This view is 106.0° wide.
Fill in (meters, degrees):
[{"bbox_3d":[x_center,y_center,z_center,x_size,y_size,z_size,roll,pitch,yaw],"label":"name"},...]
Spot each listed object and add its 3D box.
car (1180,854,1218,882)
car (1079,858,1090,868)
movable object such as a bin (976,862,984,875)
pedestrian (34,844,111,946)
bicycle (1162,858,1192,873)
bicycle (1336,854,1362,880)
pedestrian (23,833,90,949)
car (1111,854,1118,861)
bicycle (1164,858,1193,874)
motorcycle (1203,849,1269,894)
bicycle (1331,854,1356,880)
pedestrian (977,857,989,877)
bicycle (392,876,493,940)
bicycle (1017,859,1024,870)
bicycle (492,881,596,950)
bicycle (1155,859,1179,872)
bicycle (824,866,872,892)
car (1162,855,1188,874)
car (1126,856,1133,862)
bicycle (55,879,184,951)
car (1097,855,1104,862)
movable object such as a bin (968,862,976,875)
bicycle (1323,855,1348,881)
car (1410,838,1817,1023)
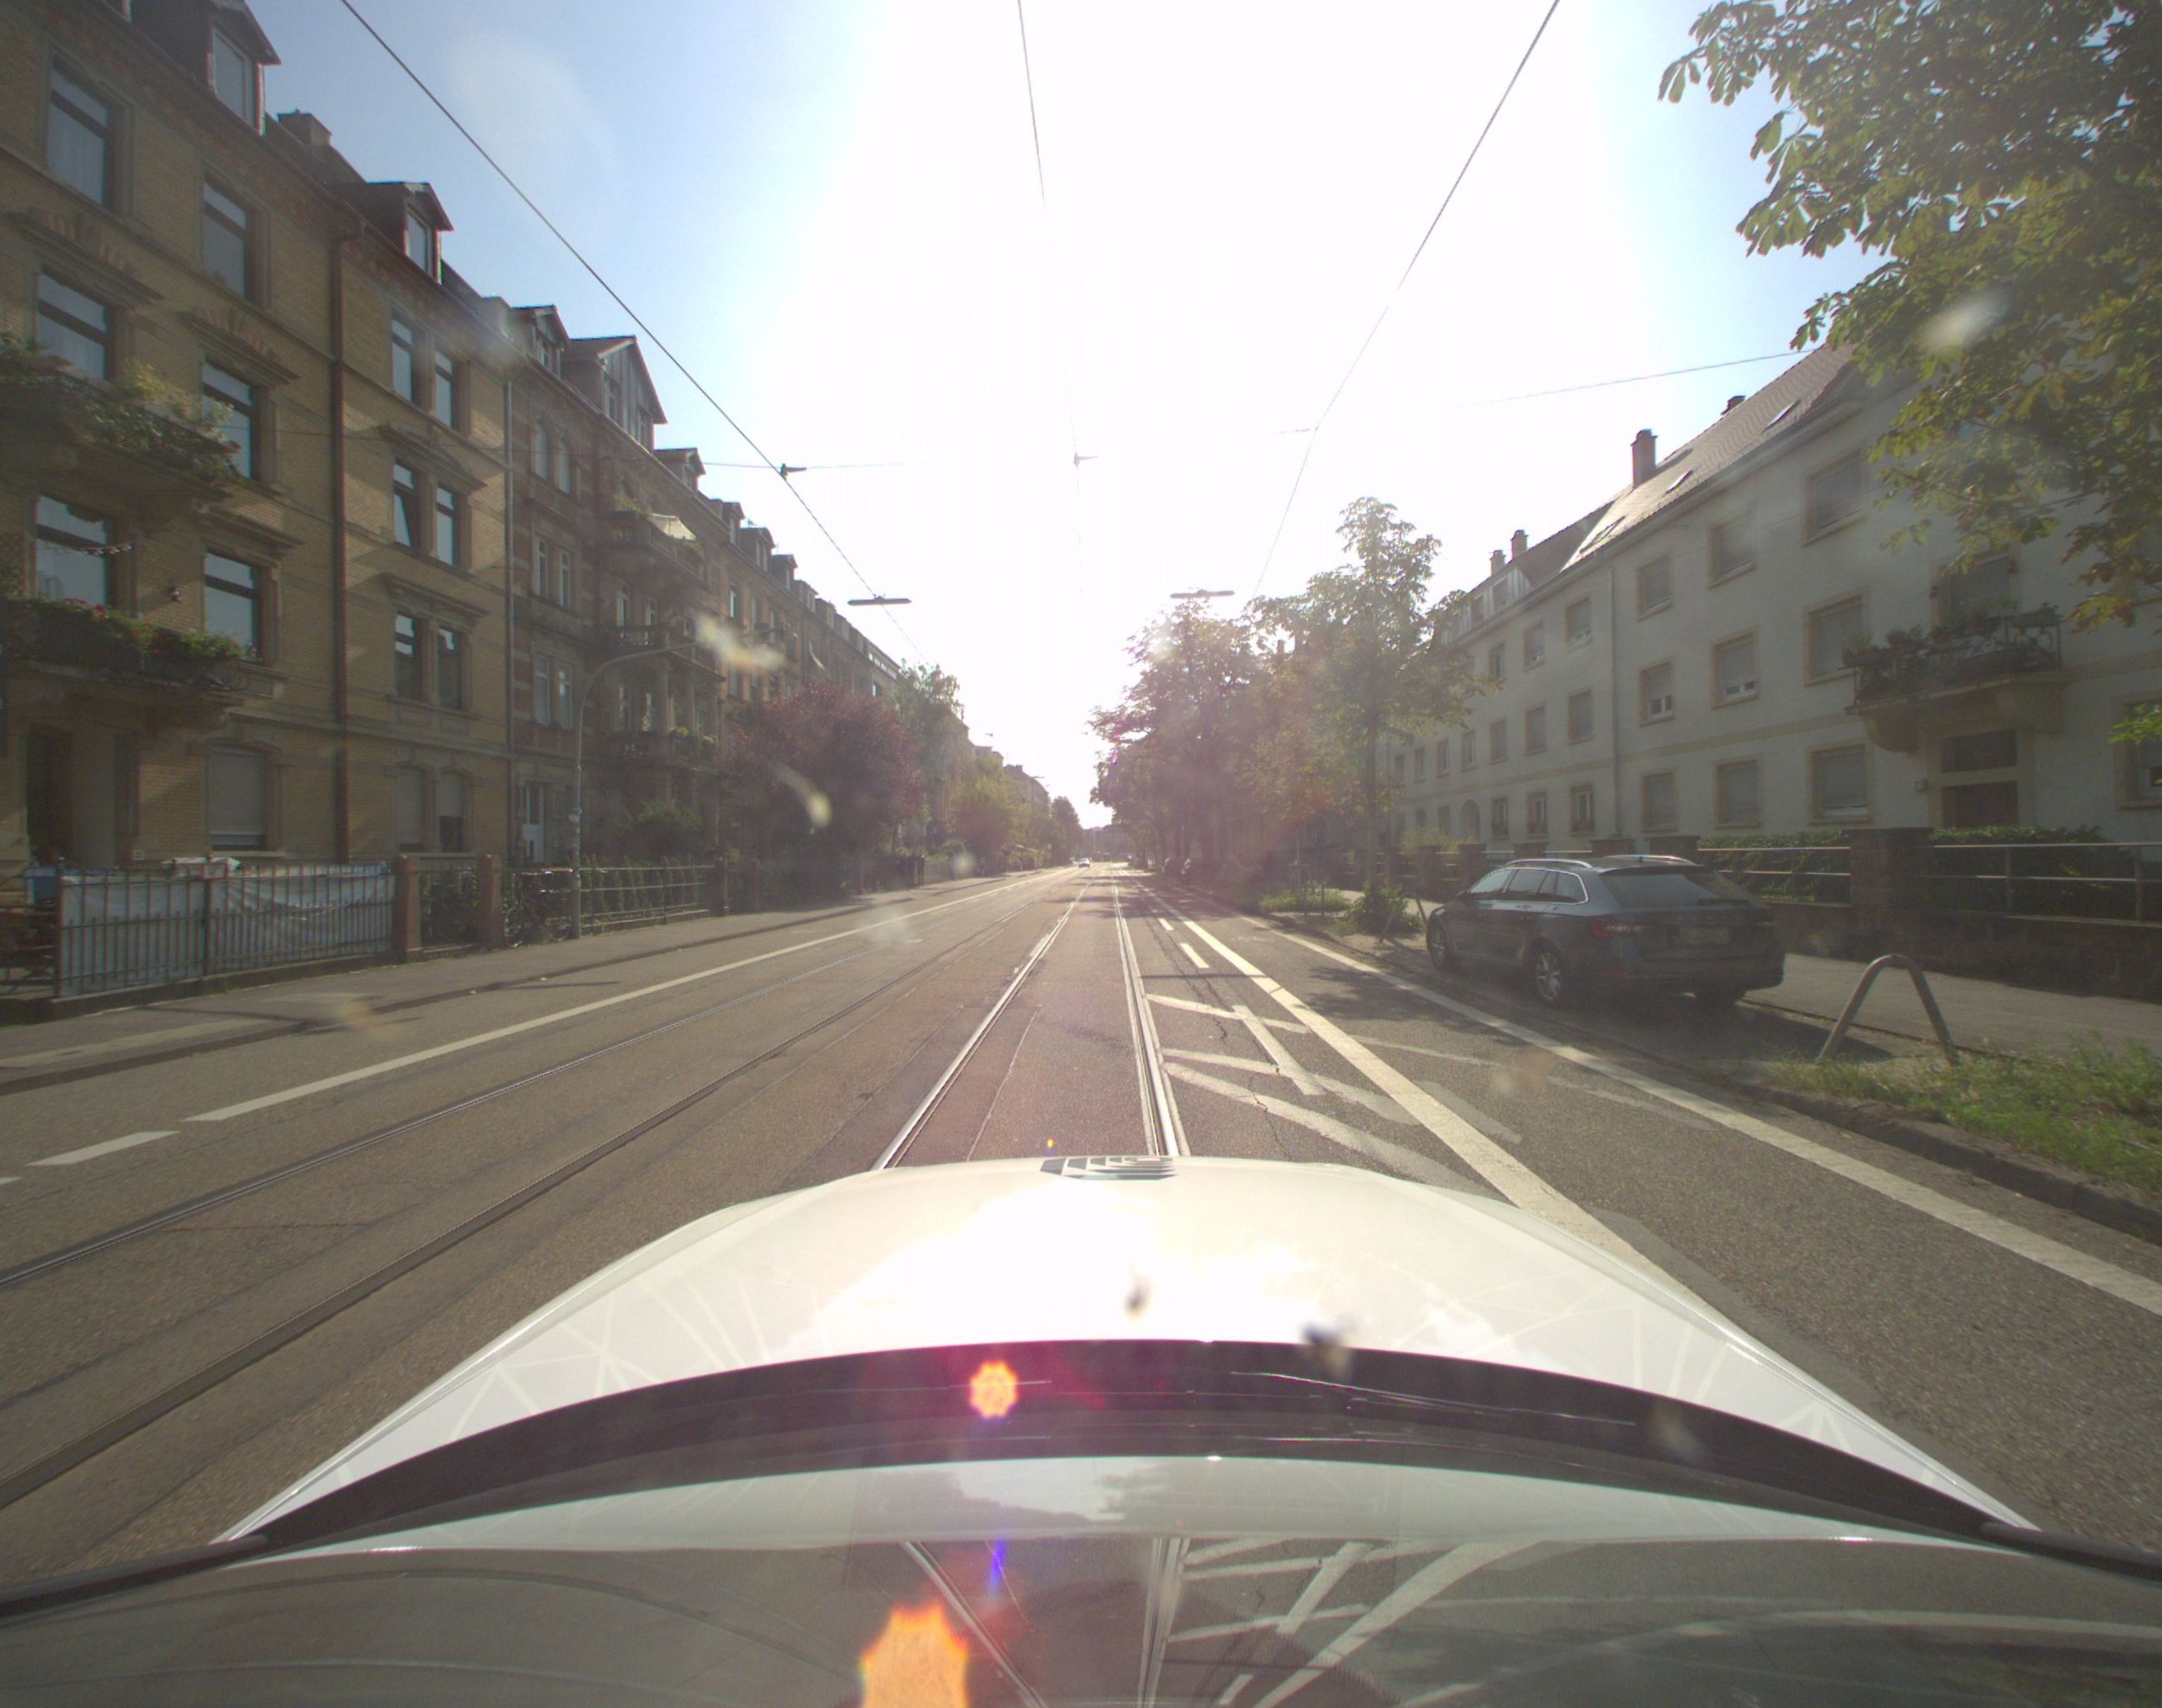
[{"bbox_3d":[6.856,0.793,47.735,1.720,1.504,3.986,-2,-1,2],"label":"car"},{"bbox_3d":[0.621,1.442,135.853,1.720,1.638,3.986,-1,0,2],"label":"car"},{"bbox_3d":[-8.626,1.250,69.524,0.630,1.078,0.704,-1,0,-5],"label":"movable object such as a bin"},{"bbox_3d":[-16.929,0.674,13.686,0.550,1.667,0.579,-1,-1,-9],"label":"pedestrian"},{"bbox_3d":[7.201,0.875,61.089,2.103,1.105,0.562,-1,-1,-6],"label":"bicycle"},{"bbox_3d":[11.824,0.574,35.974,0.423,1.104,1.999,-1,0,0],"label":"bicycle"},{"bbox_3d":[-16.733,0.588,13.314,0.554,1.849,0.574,-1,-1,-38],"label":"pedestrian"},{"bbox_3d":[9.924,0.991,241.048,1.984,2.013,4.006,1,0,5],"label":"car"},{"bbox_3d":[7.242,0.885,60.563,2.103,1.105,0.562,-1,-1,-6],"label":"bicycle"},{"bbox_3d":[6.060,0.690,31.913,0.919,1.674,2.390,-3,0,-44],"label":"motorcycle"},{"bbox_3d":[11.593,0.558,36.008,0.423,1.104,1.999,-1,0,0],"label":"bicycle"},{"bbox_3d":[-7.922,1.014,65.794,0.749,1.591,0.879,-1,0,2],"label":"pedestrian"},{"bbox_3d":[-10.906,0.917,13.925,1.353,1.060,0.417,1,-1,-2],"label":"bicycle"},{"bbox_3d":[-7.132,1.253,96.172,0.558,1.221,2.116,-1,0,4],"label":"bicycle"},{"bbox_3d":[-9.777,1.087,14.931,0.506,1.108,2.004,-1,0,2],"label":"bicycle"},{"bbox_3d":[7.916,1.082,75.231,2.099,1.105,0.616,-2,-1,0],"label":"bicycle"},{"bbox_3d":[-10.604,1.137,37.135,2.010,1.104,0.588,-1,0,-2],"label":"bicycle"},{"bbox_3d":[7.450,0.833,64.759,1.765,1.473,3.976,-2,-1,2],"label":"car"},{"bbox_3d":[14.713,1.661,248.688,1.983,1.783,4.007,1,0,6],"label":"car"},{"bbox_3d":[-15.052,0.948,12.768,1.479,1.060,0.417,-1,-1,-2],"label":"bicycle"},{"bbox_3d":[6.157,1.394,259.429,1.984,2.013,4.005,1,0,5],"label":"car"},{"bbox_3d":[-9.296,1.242,69.466,0.589,1.078,0.704,-1,0,-5],"label":"movable object such as a bin"},{"bbox_3d":[11.242,0.597,36.038,0.421,1.104,1.999,-1,0,0],"label":"bicycle"},{"bbox_3d":[5.546,0.674,9.393,1.737,1.561,4.722,-2,0,2],"label":"car"}]
